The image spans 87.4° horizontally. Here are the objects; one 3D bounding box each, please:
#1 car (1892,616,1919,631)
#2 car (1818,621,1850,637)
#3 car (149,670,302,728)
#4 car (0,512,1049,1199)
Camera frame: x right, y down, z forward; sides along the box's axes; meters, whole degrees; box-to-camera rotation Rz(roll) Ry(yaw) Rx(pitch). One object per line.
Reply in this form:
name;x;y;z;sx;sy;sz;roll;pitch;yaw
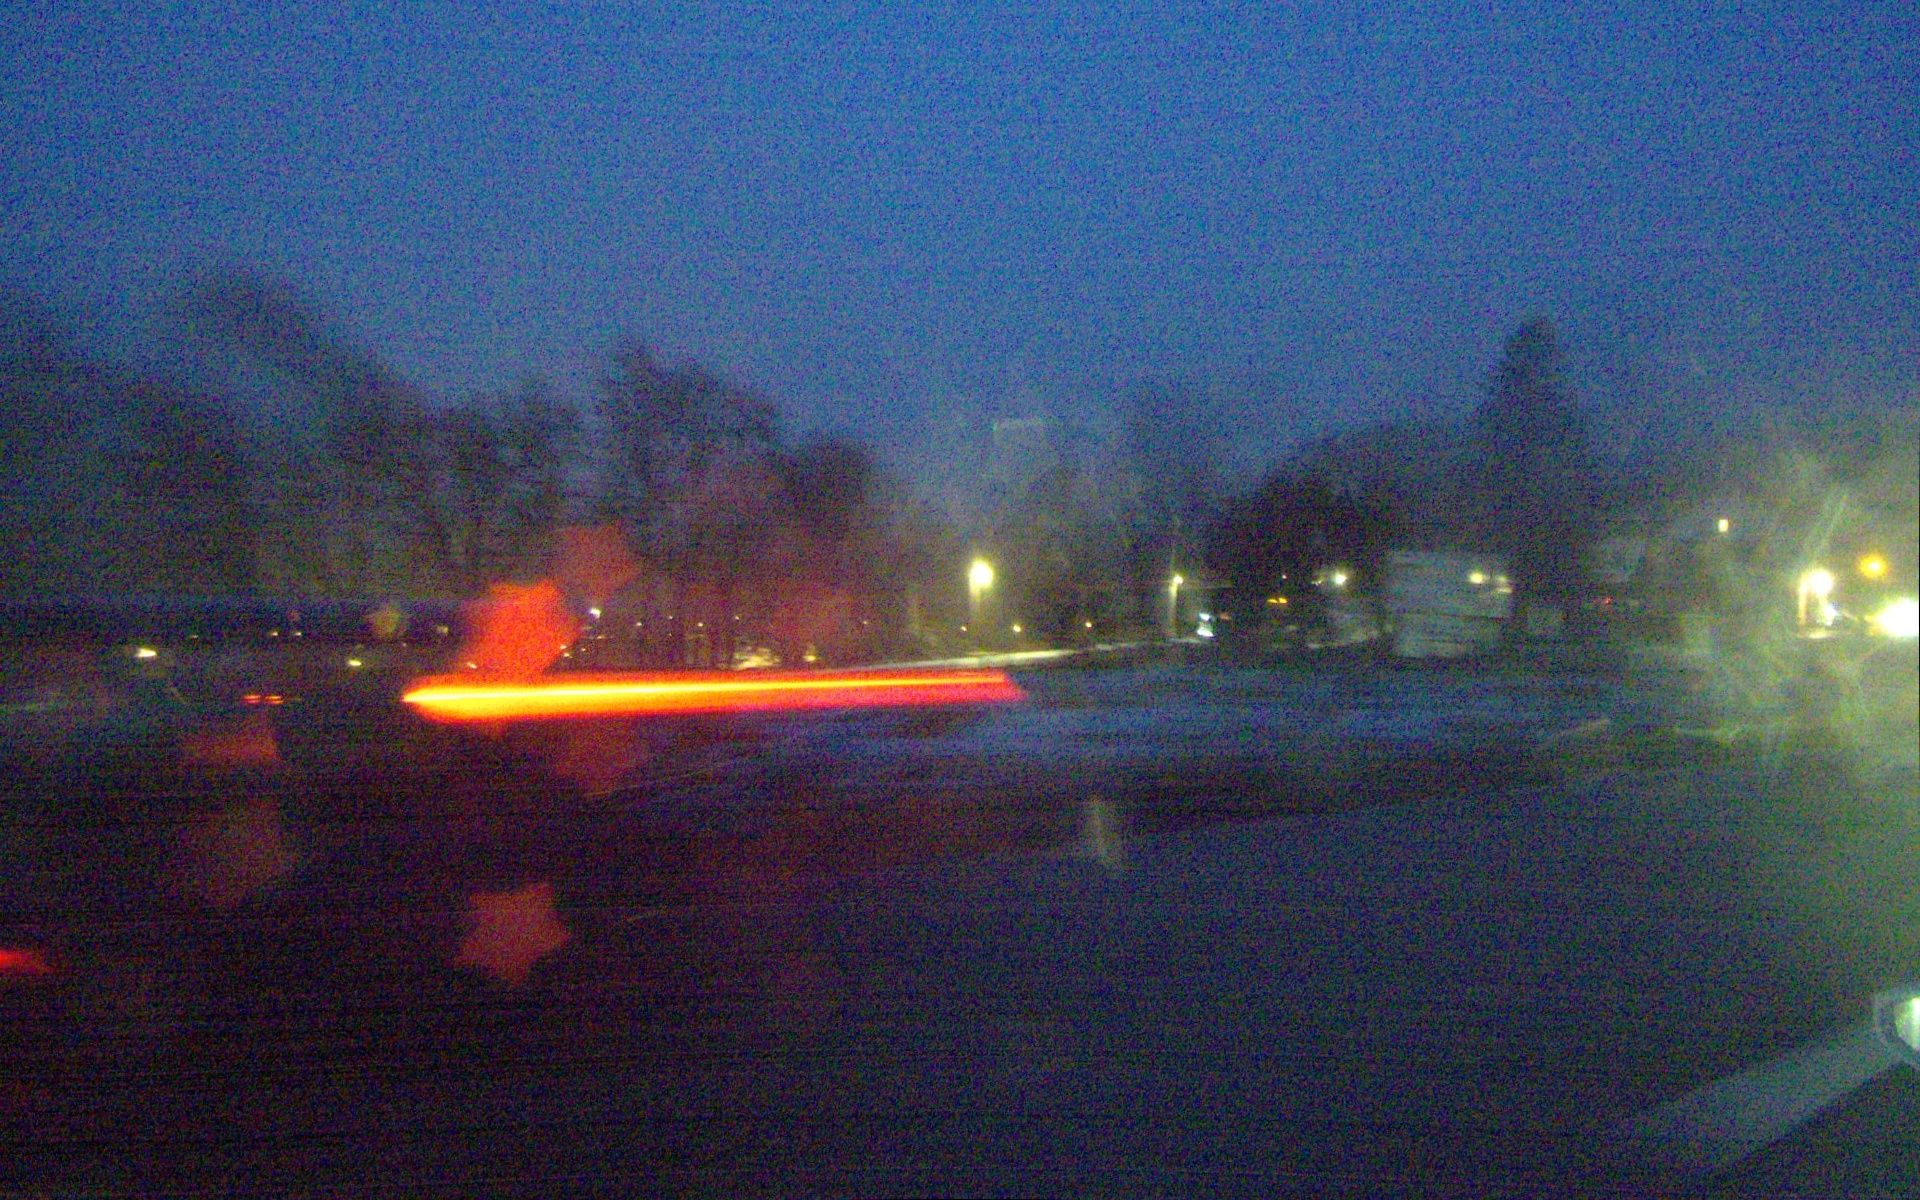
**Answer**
car;106.228;2.633;112.594;1.929;1.542;4.386;2;0;34
car;84.045;2.755;96.592;4.115;1.416;1.675;-1;-2;-40
car;-22.578;3.036;30.973;3.384;1.541;1.659;2;0;-4
car;-1.888;0.626;2.659;3.953;1.563;1.726;2;0;-30
